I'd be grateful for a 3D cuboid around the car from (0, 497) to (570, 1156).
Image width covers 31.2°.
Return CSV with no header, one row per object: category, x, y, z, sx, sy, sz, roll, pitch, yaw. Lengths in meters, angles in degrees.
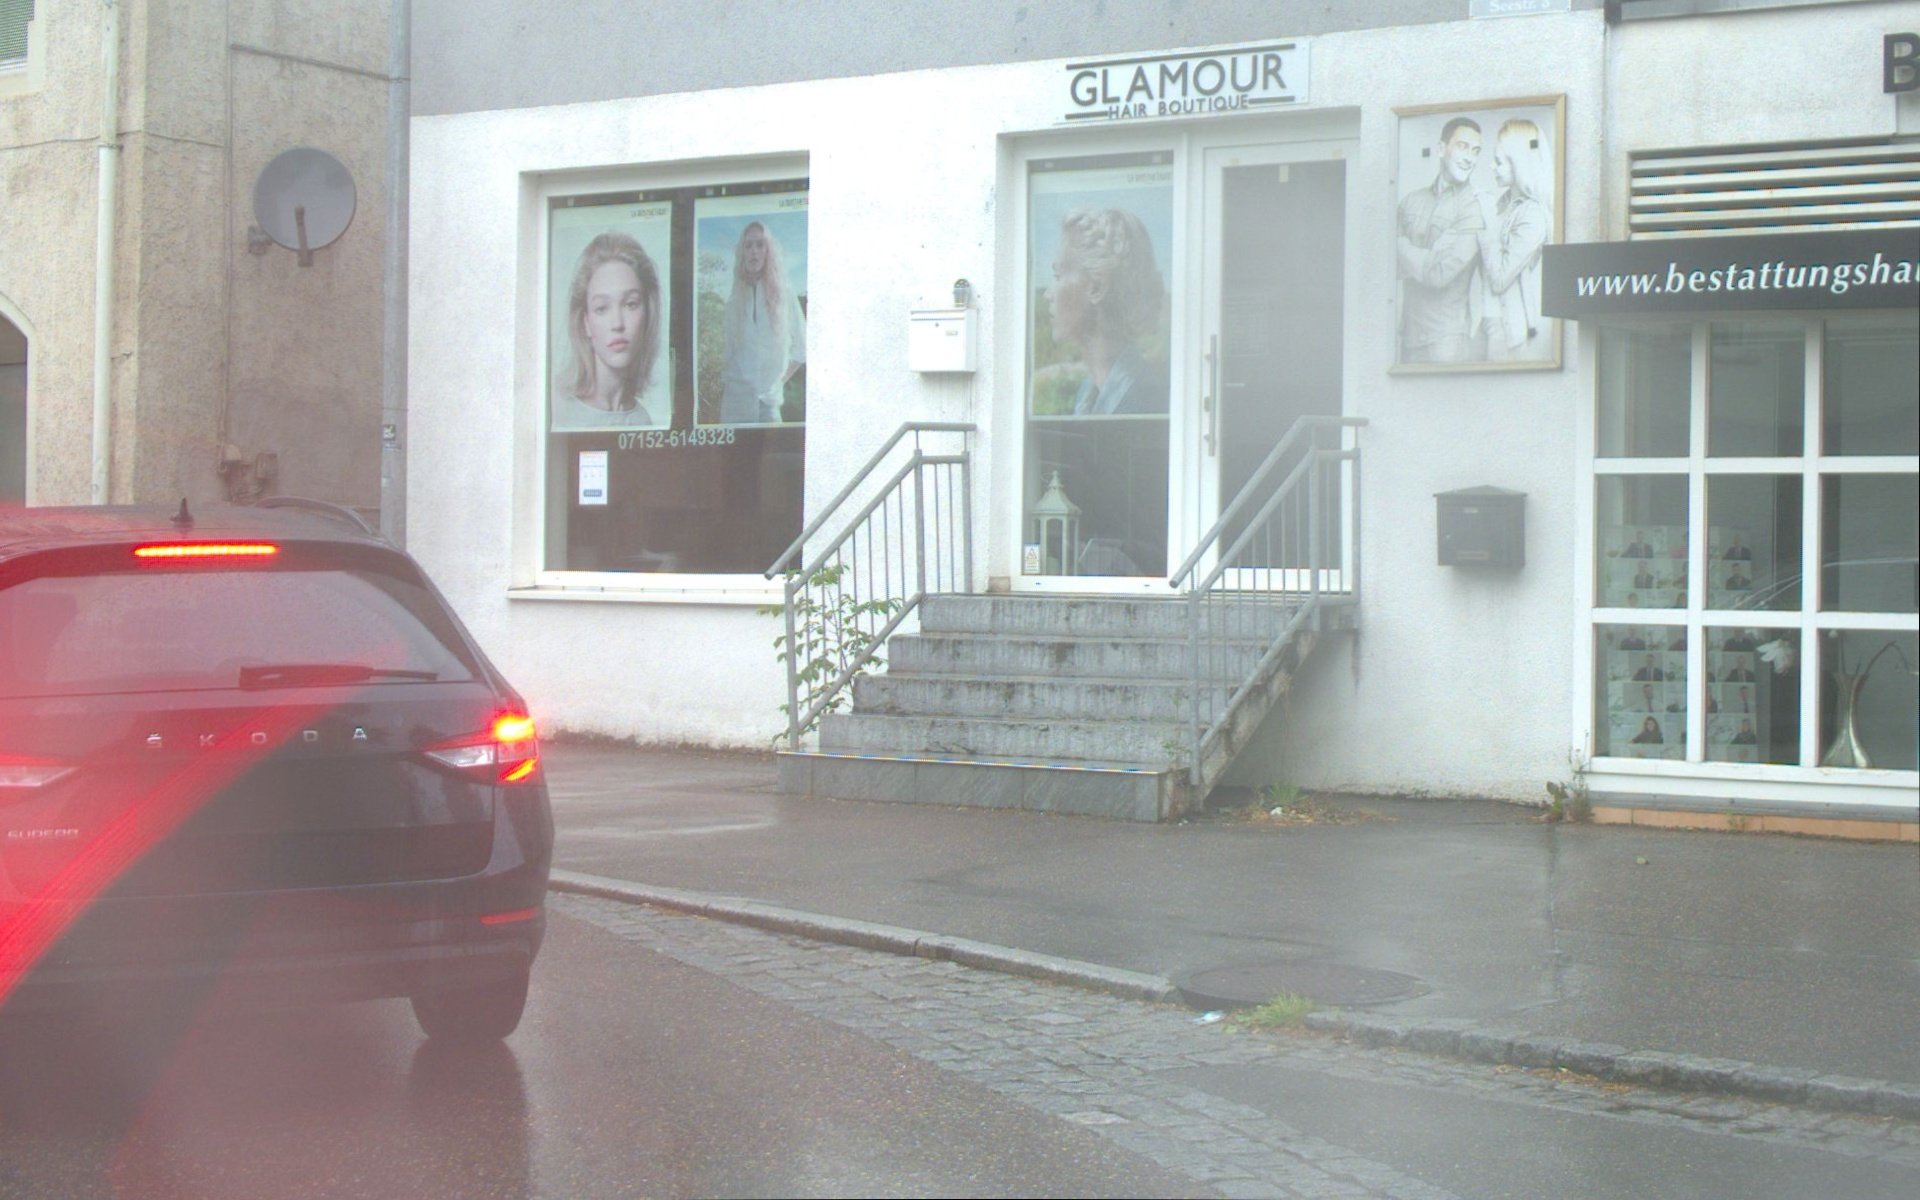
car,-2.573,0.458,10.011,1.732,1.445,4.243,-1,3,-23
